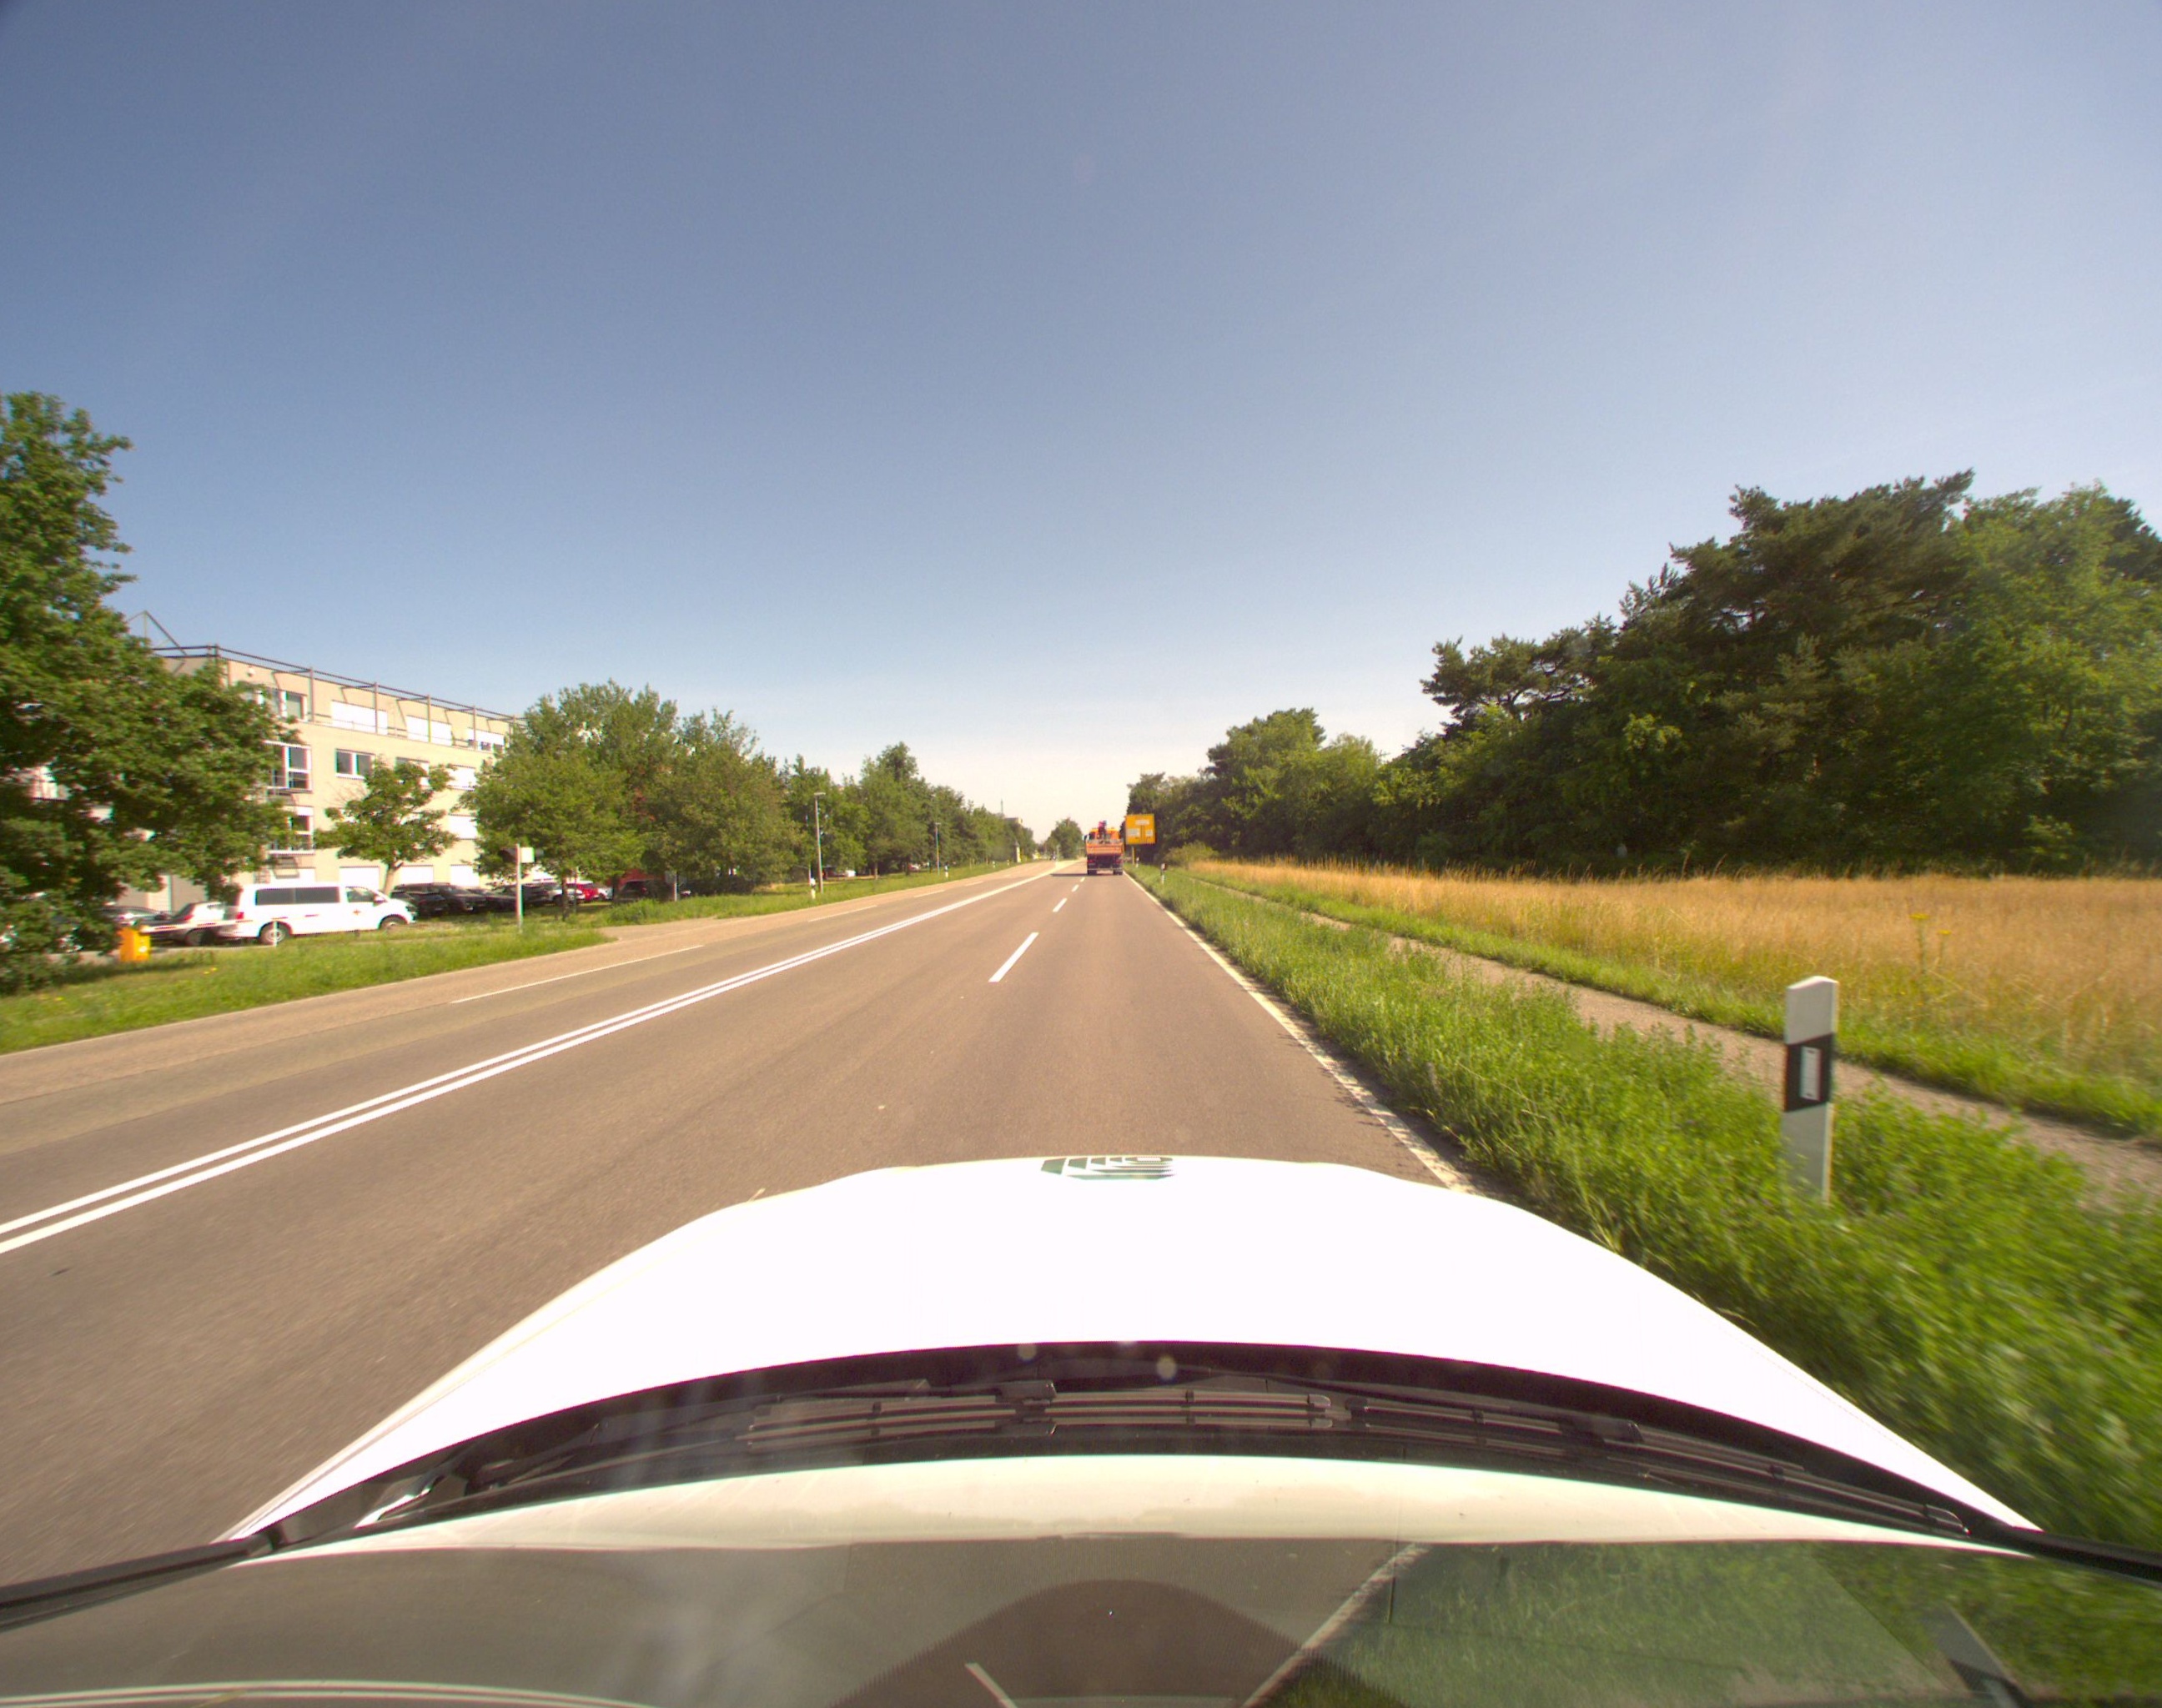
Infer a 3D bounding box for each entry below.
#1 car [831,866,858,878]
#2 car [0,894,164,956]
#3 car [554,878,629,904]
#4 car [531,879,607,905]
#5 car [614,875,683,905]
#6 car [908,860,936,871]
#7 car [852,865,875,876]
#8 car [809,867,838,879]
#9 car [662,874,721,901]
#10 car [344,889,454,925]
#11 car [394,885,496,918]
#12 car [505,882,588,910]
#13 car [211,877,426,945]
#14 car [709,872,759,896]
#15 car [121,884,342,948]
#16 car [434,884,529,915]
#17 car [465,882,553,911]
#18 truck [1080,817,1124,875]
[{"bbox_3d":[-31.716,2.409,109.310,1.985,1.437,4.959,-2,0,3],"label":"car"},{"bbox_3d":[-35.593,2.438,28.013,2.047,1.806,5.048,-2,0,32],"label":"car"},{"bbox_3d":[-34.587,2.583,57.584,4.121,1.585,1.742,-2,0,0],"label":"car"},{"bbox_3d":[-34.698,2.565,55.260,3.974,1.536,1.742,-2,0,0],"label":"car"},{"bbox_3d":[-26.906,2.209,50.808,1.737,1.578,4.550,-2,0,1],"label":"car"},{"bbox_3d":[-28.383,2.047,145.383,4.579,1.650,2.000,-2,0,1],"label":"car"},{"bbox_3d":[-31.836,2.365,119.279,1.986,1.437,4.611,-2,0,1],"label":"car"},{"bbox_3d":[-34.326,2.533,108.752,1.985,1.437,4.959,-2,0,3],"label":"car"},{"bbox_3d":[-26.830,2.289,56.267,1.737,1.578,4.550,-2,0,1],"label":"car"},{"bbox_3d":[-35.078,2.728,41.975,3.974,1.536,1.888,-2,0,0],"label":"car"},{"bbox_3d":[-34.804,2.567,44.635,3.974,1.536,1.888,-2,0,0],"label":"car"},{"bbox_3d":[-34.259,2.669,52.234,3.974,1.536,1.888,-2,0,0],"label":"car"},{"bbox_3d":[-26.178,1.889,28.185,2.047,1.929,5.048,-2,0,32],"label":"car"},{"bbox_3d":[-26.608,2.267,62.596,1.737,1.578,4.550,-2,0,1],"label":"car"},{"bbox_3d":[-29.710,2.099,28.682,2.047,1.806,5.048,-2,0,32],"label":"car"},{"bbox_3d":[-34.654,2.627,47.135,3.974,1.536,1.888,-2,0,0],"label":"car"},{"bbox_3d":[-34.979,2.588,49.892,3.974,1.536,1.888,-2,0,0],"label":"car"},{"bbox_3d":[1.422,-0.558,58.144,2.863,3.880,7.397,0,0,-1],"label":"truck"}]
